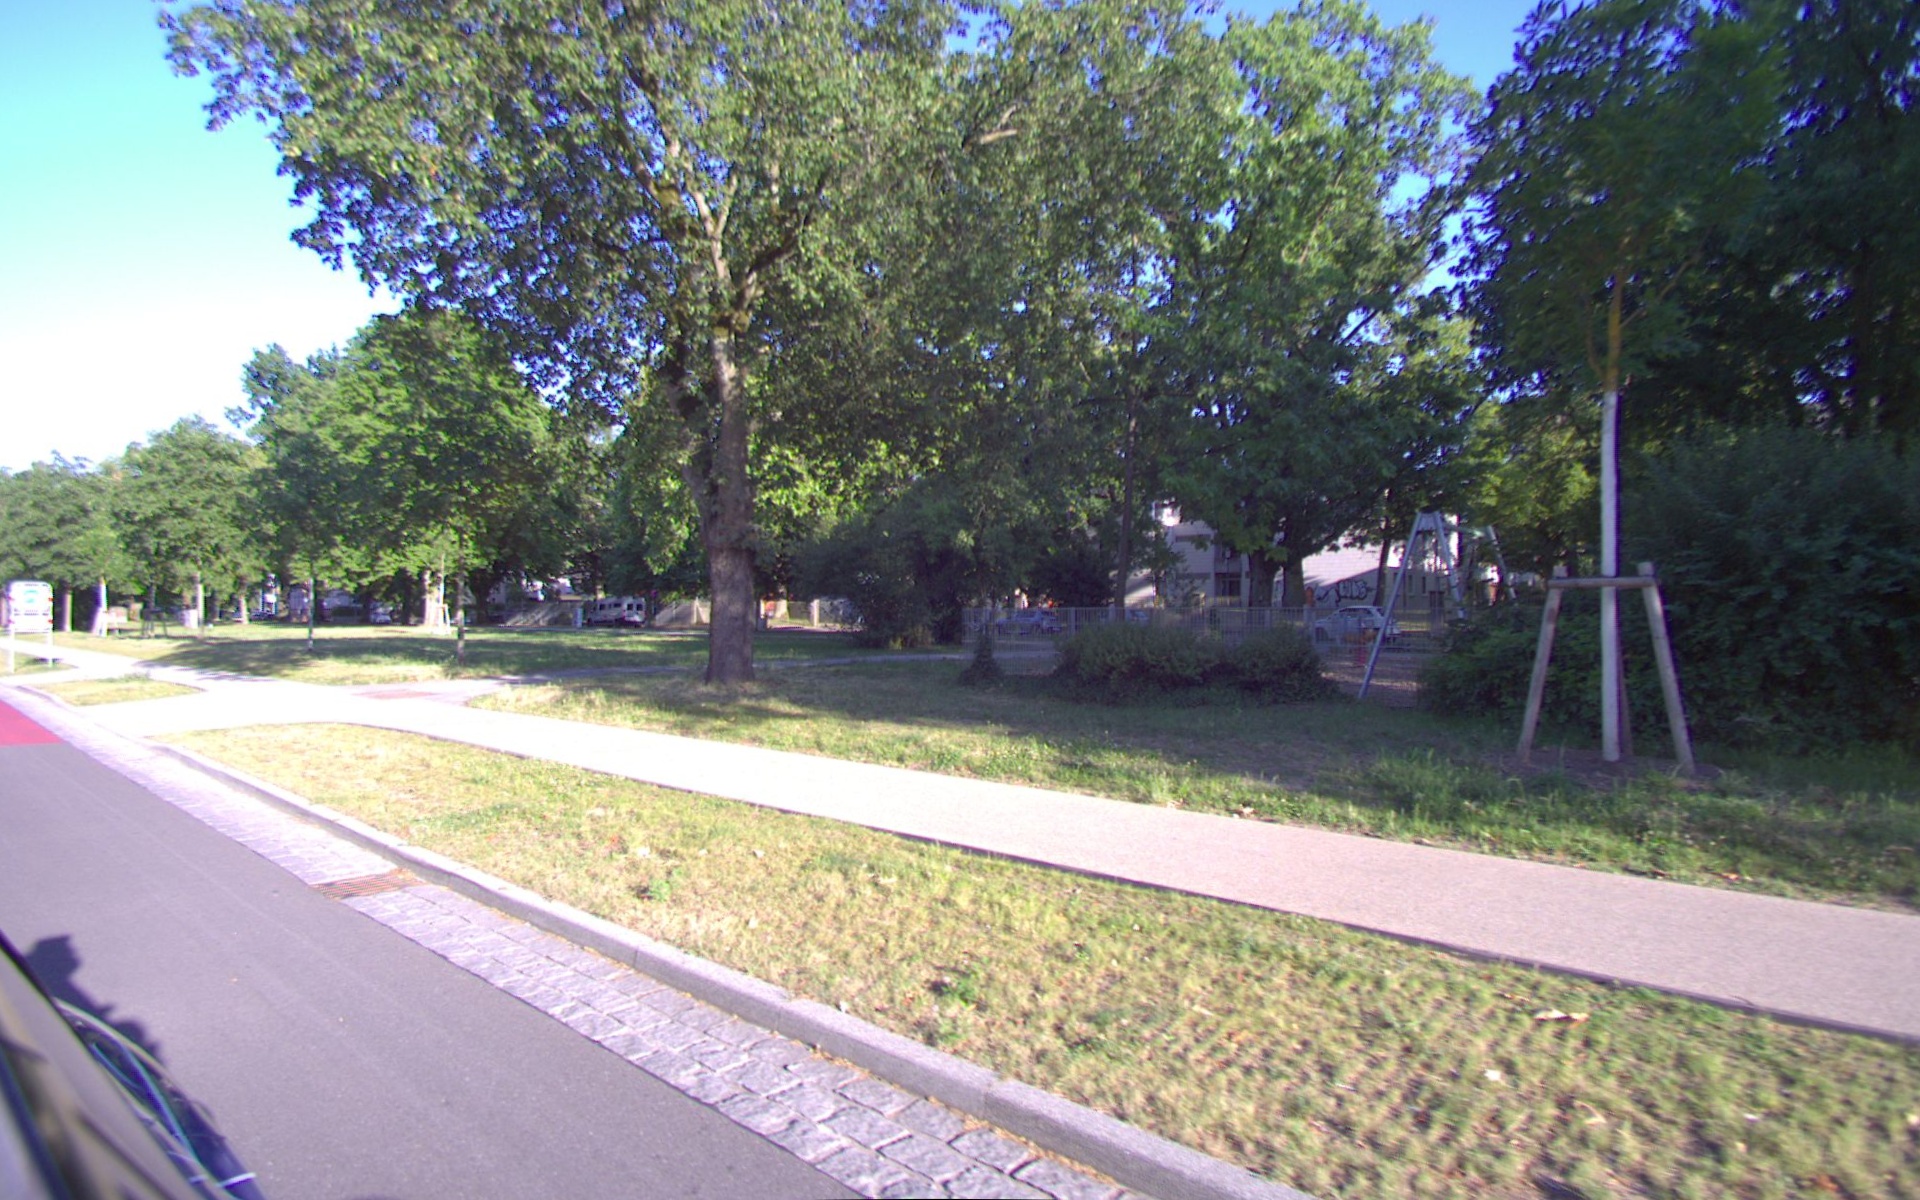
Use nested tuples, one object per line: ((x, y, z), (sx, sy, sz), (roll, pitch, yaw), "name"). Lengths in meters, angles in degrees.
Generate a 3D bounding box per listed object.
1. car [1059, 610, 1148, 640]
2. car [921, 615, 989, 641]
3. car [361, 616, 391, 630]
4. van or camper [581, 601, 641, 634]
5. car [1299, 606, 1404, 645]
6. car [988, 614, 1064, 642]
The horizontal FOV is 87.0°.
((6.907, 1.206, 49.065), (4.106, 1.378, 1.506), (-1, -1, 41), "car")
((-0.288, 1.537, 55.820), (3.648, 1.378, 1.506), (-1, -1, 41), "car")
((-67.173, 2.645, 116.347), (3.998, 1.475, 1.773), (-1, -1, 41), "car")
((-27.774, 1.386, 80.490), (5.462, 2.457, 1.974), (-1, 1, 40), "van or camper")
((15.895, 1.024, 41.190), (3.664, 1.475, 1.582), (-1, -1, 44), "car")
((3.390, 1.463, 52.445), (3.791, 1.378, 1.506), (-1, -1, 41), "car")
